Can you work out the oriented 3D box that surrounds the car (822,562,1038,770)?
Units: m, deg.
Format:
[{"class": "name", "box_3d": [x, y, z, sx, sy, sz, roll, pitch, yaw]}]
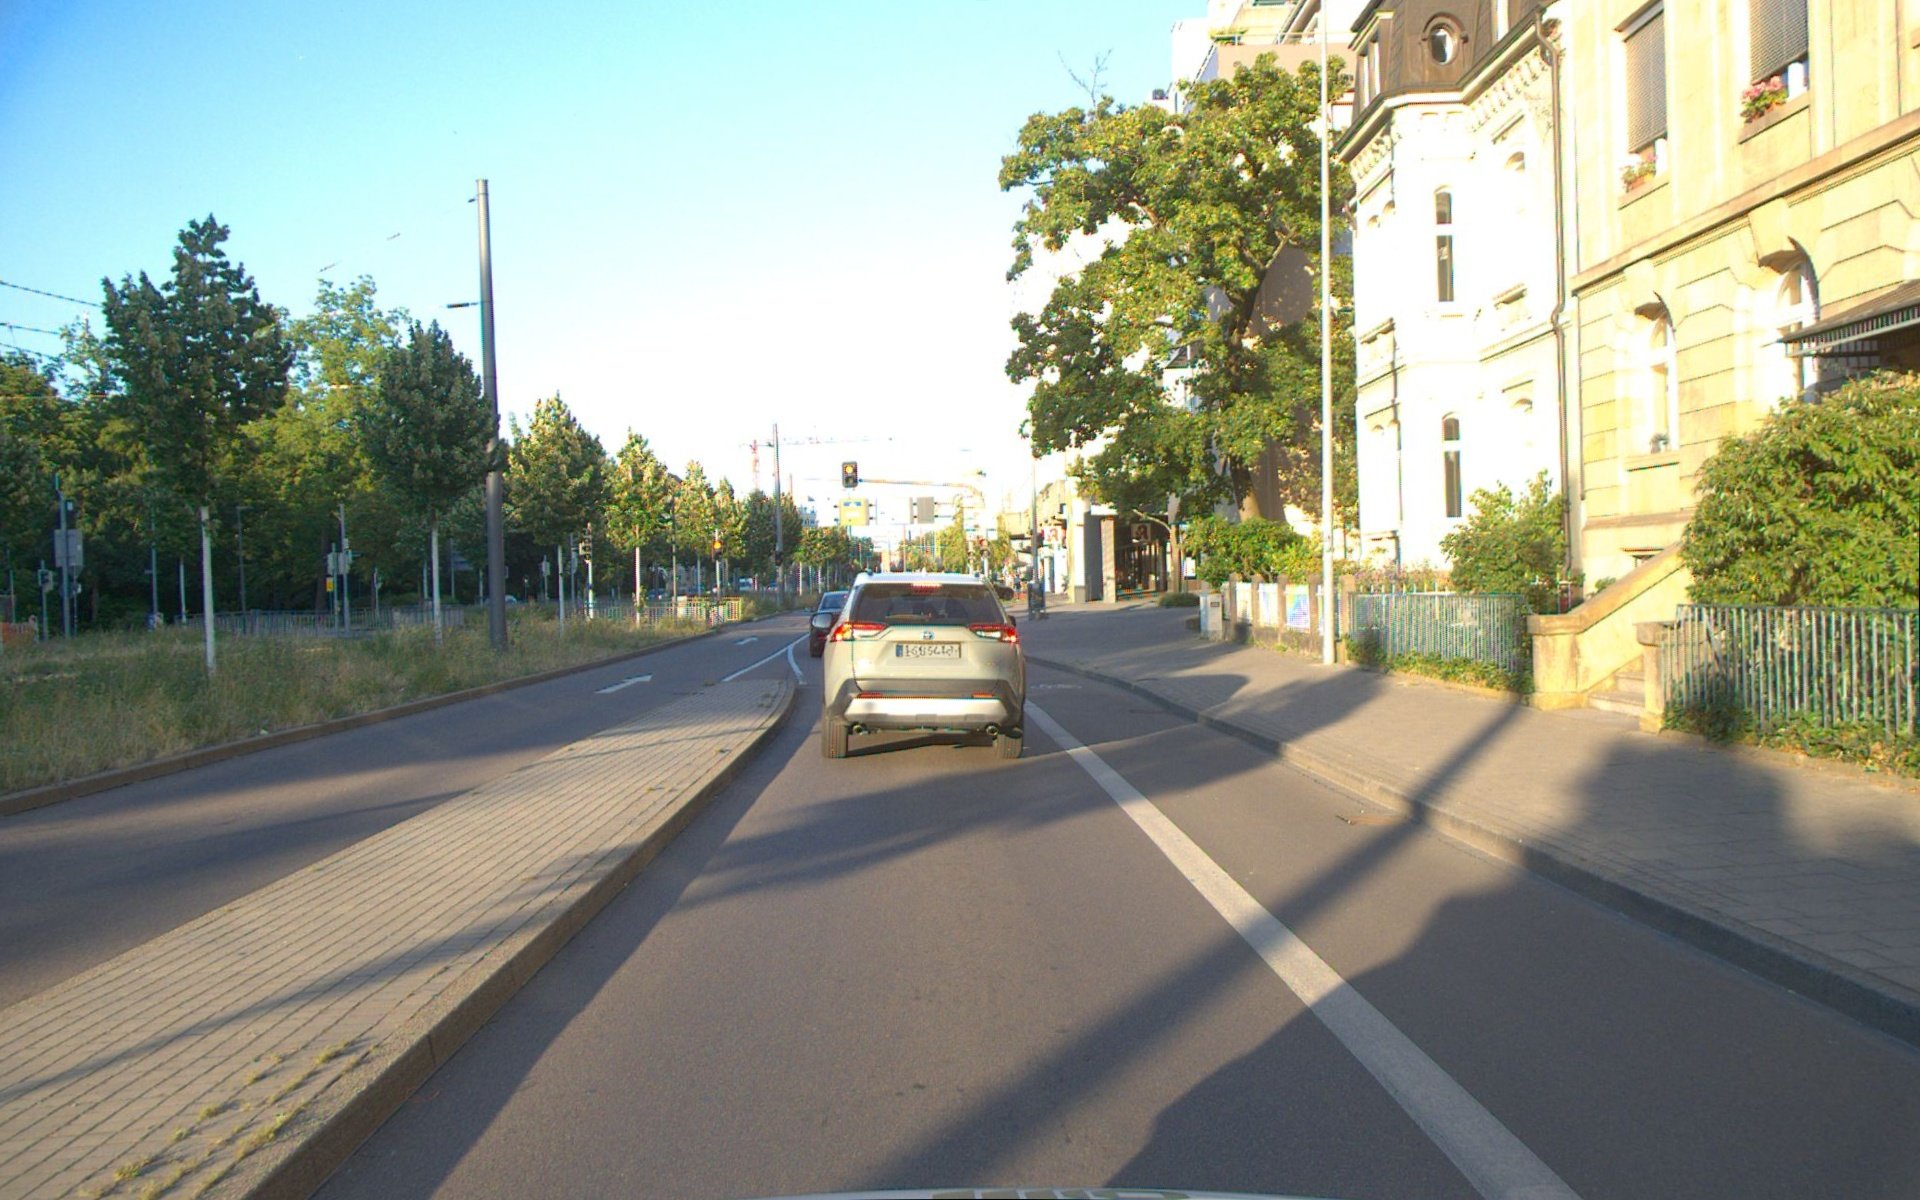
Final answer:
[{"class": "car", "box_3d": [-0.346, 0.531, 16.053, 1.821, 1.744, 4.190, 0, 1, -3]}]

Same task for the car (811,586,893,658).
[{"class": "car", "box_3d": [-2.485, 0.472, 38.633, 1.821, 1.578, 4.107, 0, 1, -3]}]
